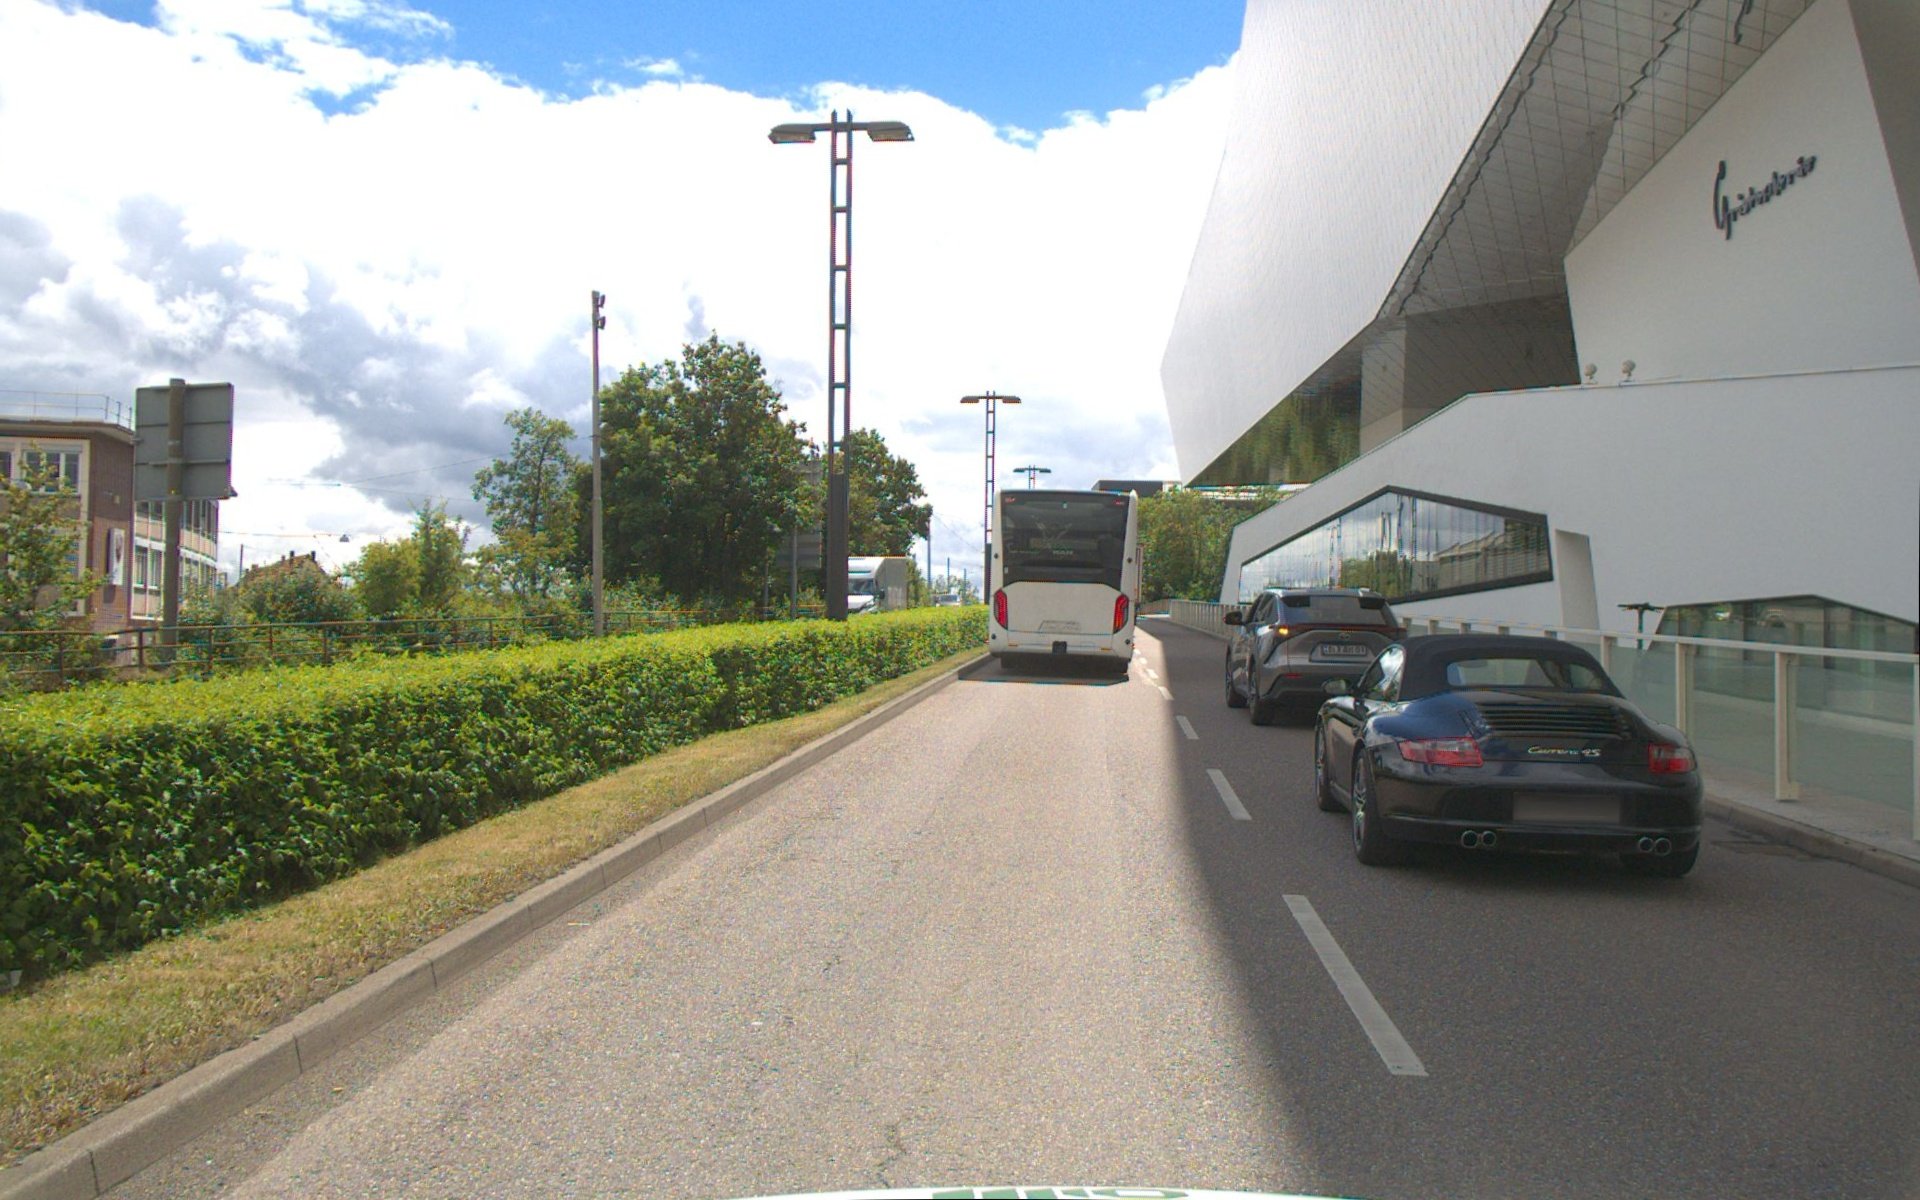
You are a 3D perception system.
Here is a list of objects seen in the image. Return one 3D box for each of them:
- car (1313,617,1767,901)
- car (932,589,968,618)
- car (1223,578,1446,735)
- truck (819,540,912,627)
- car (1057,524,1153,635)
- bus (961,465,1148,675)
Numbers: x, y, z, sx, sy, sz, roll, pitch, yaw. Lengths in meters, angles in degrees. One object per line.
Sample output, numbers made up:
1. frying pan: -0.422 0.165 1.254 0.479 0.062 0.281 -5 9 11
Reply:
1. car: 3.351 0.816 10.371 1.795 1.348 4.003 0 0 6
2. car: -0.656 0.267 113.230 1.951 1.743 4.002 2 -3 7
3. car: 4.449 0.596 20.269 1.952 1.665 4.002 2 1 3
4. truck: -3.769 -0.555 68.332 2.149 3.013 8.957 2 -3 7
5. car: 5.389 -0.641 62.772 3.265 3.566 9.344 2 -3 4
6. bus: 2.061 -0.555 33.829 3.007 3.420 12.230 2 1 4
